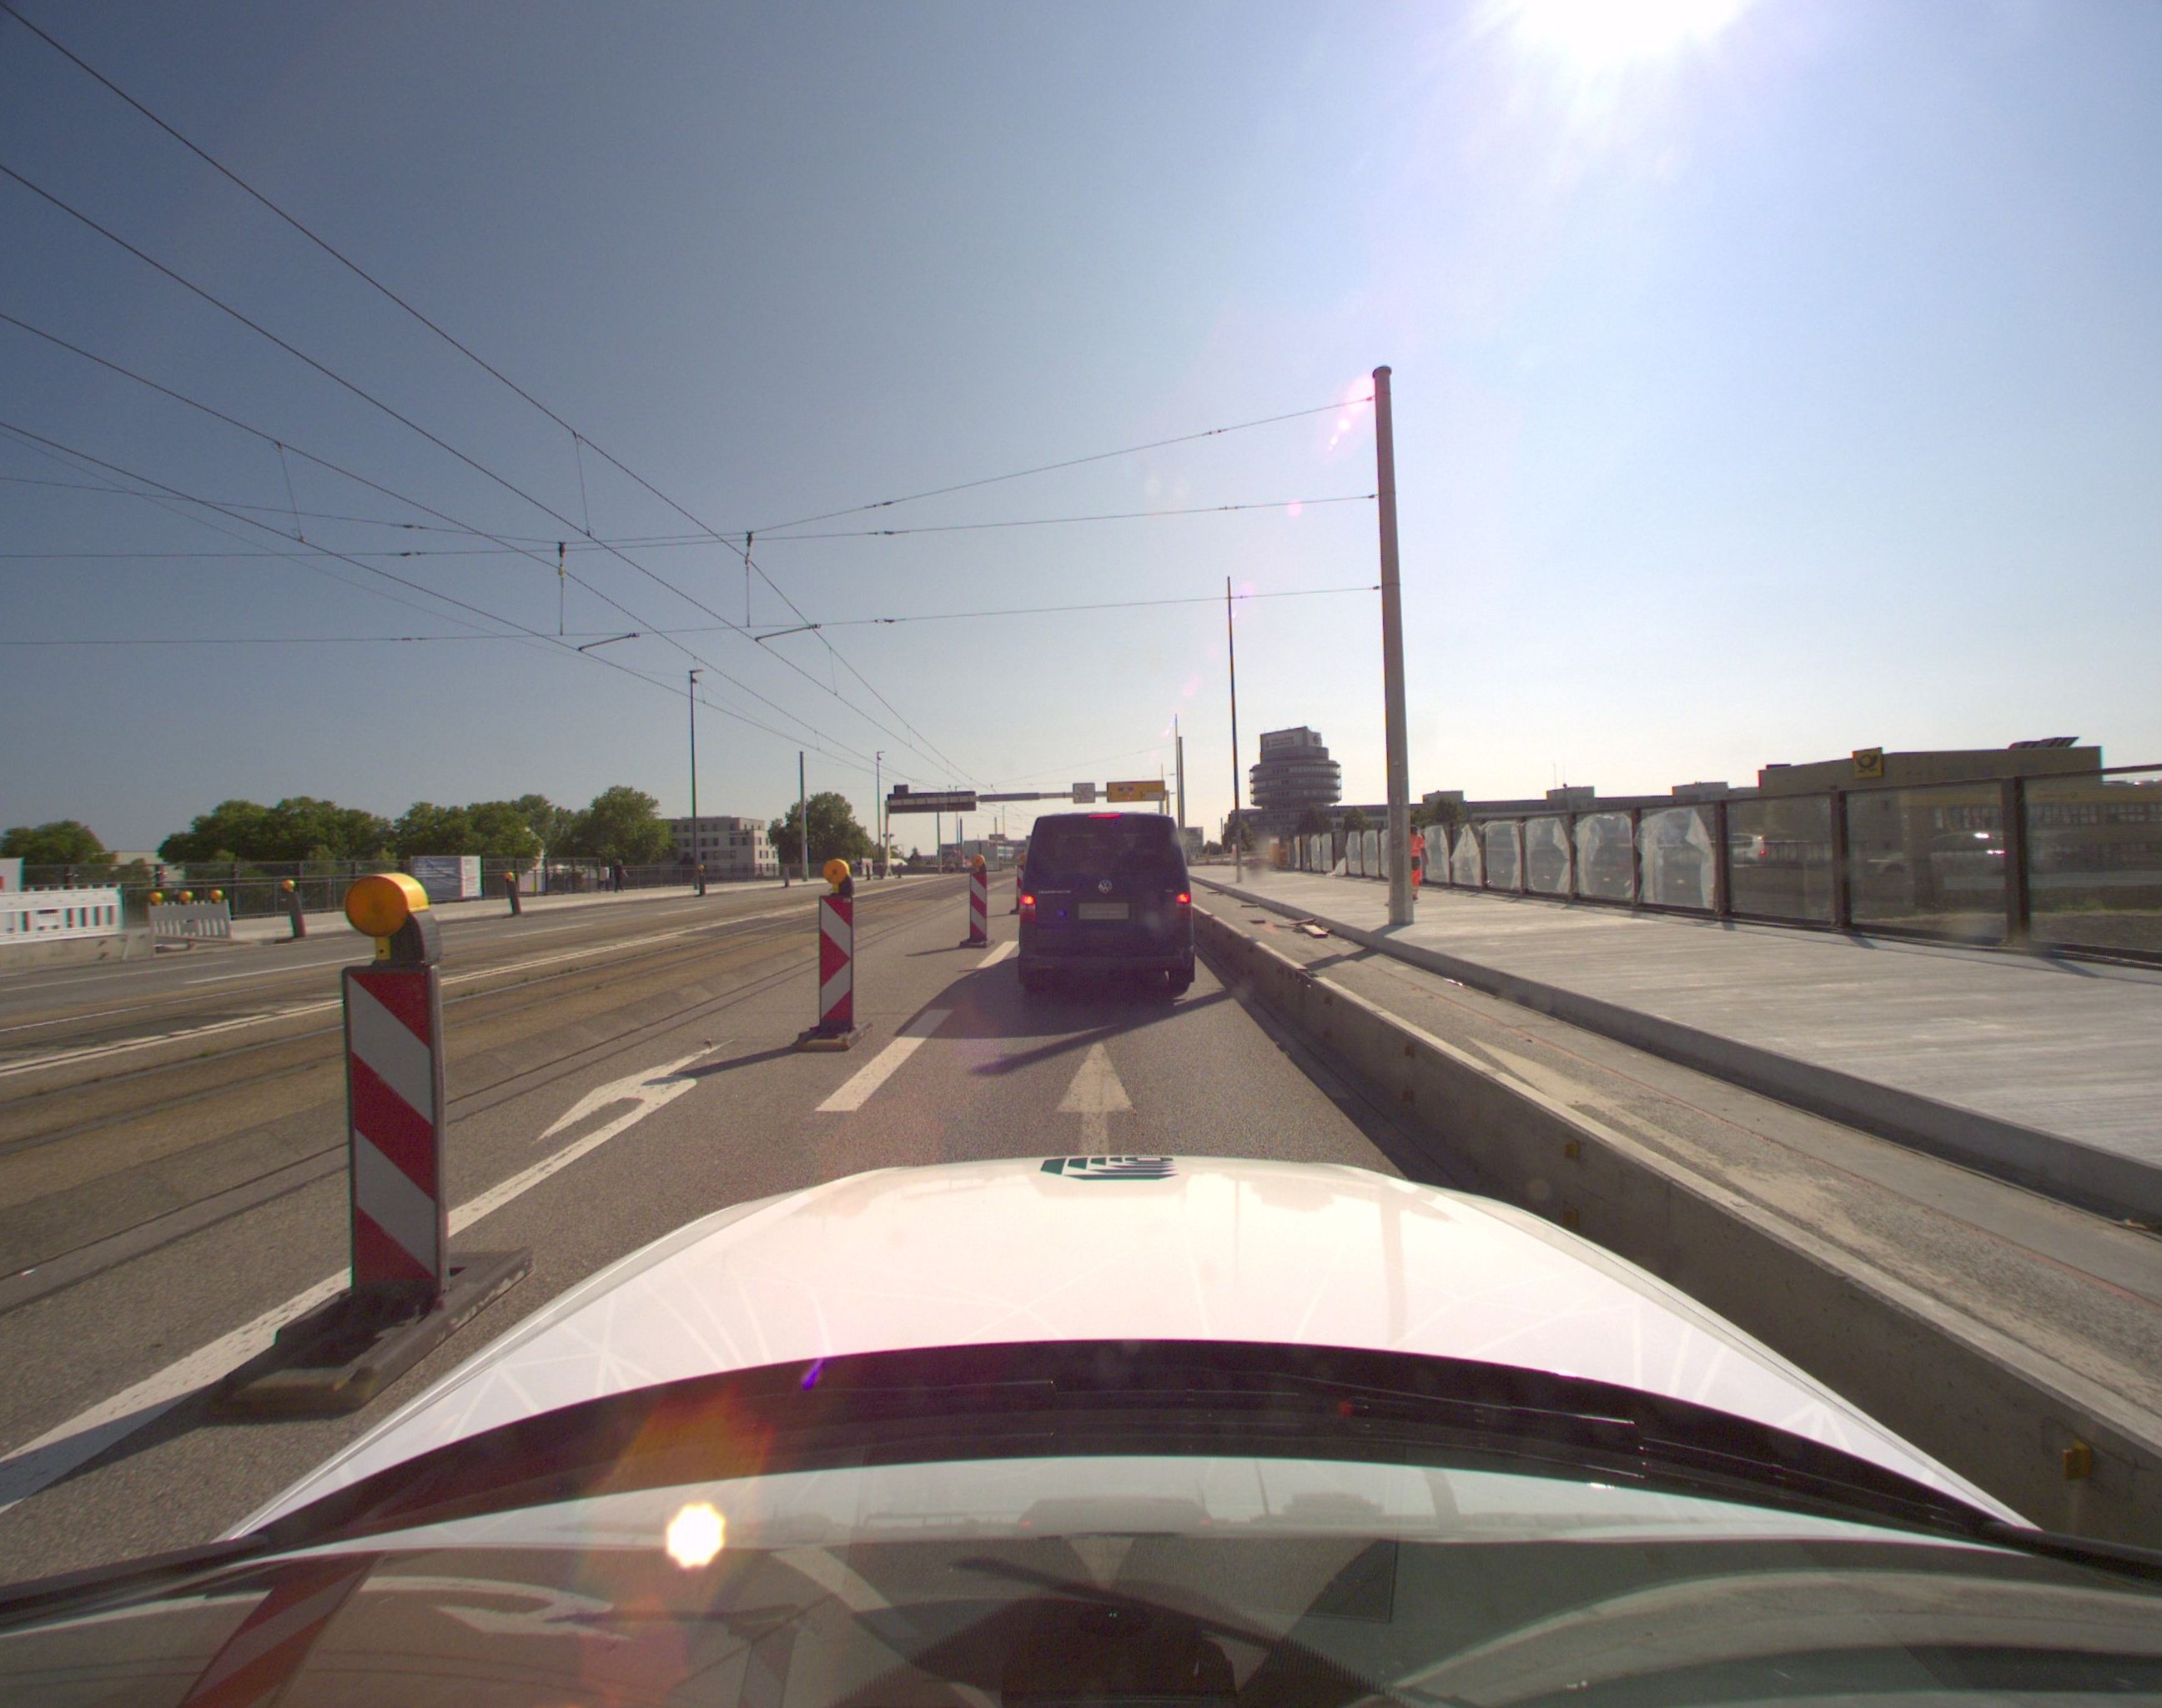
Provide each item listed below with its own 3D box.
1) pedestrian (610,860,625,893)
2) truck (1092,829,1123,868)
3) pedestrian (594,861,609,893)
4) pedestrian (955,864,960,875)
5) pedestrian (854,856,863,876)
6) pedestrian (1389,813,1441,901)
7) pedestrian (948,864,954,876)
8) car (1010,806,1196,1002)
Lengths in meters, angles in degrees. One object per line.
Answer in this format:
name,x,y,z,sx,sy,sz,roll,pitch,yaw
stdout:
pedestrian,-24.295,1.189,42.693,0.493,1.694,0.474,0,-1,1
truck,2.361,-0.532,72.121,2.451,3.134,11.221,-2,1,2
pedestrian,-25.182,1.201,42.751,0.493,1.694,0.474,0,-1,1
pedestrian,-19.102,2.398,125.909,0.631,1.598,0.752,-1,0,1
pedestrian,-21.123,1.104,77.373,0.631,1.893,0.752,-1,0,1
pedestrian,7.701,0.069,18.811,0.779,1.935,0.800,-3,-1,1
pedestrian,-19.690,2.357,123.225,0.631,1.774,0.752,-1,0,1
car,0.261,0.509,10.145,1.809,1.905,4.055,-2,0,1
